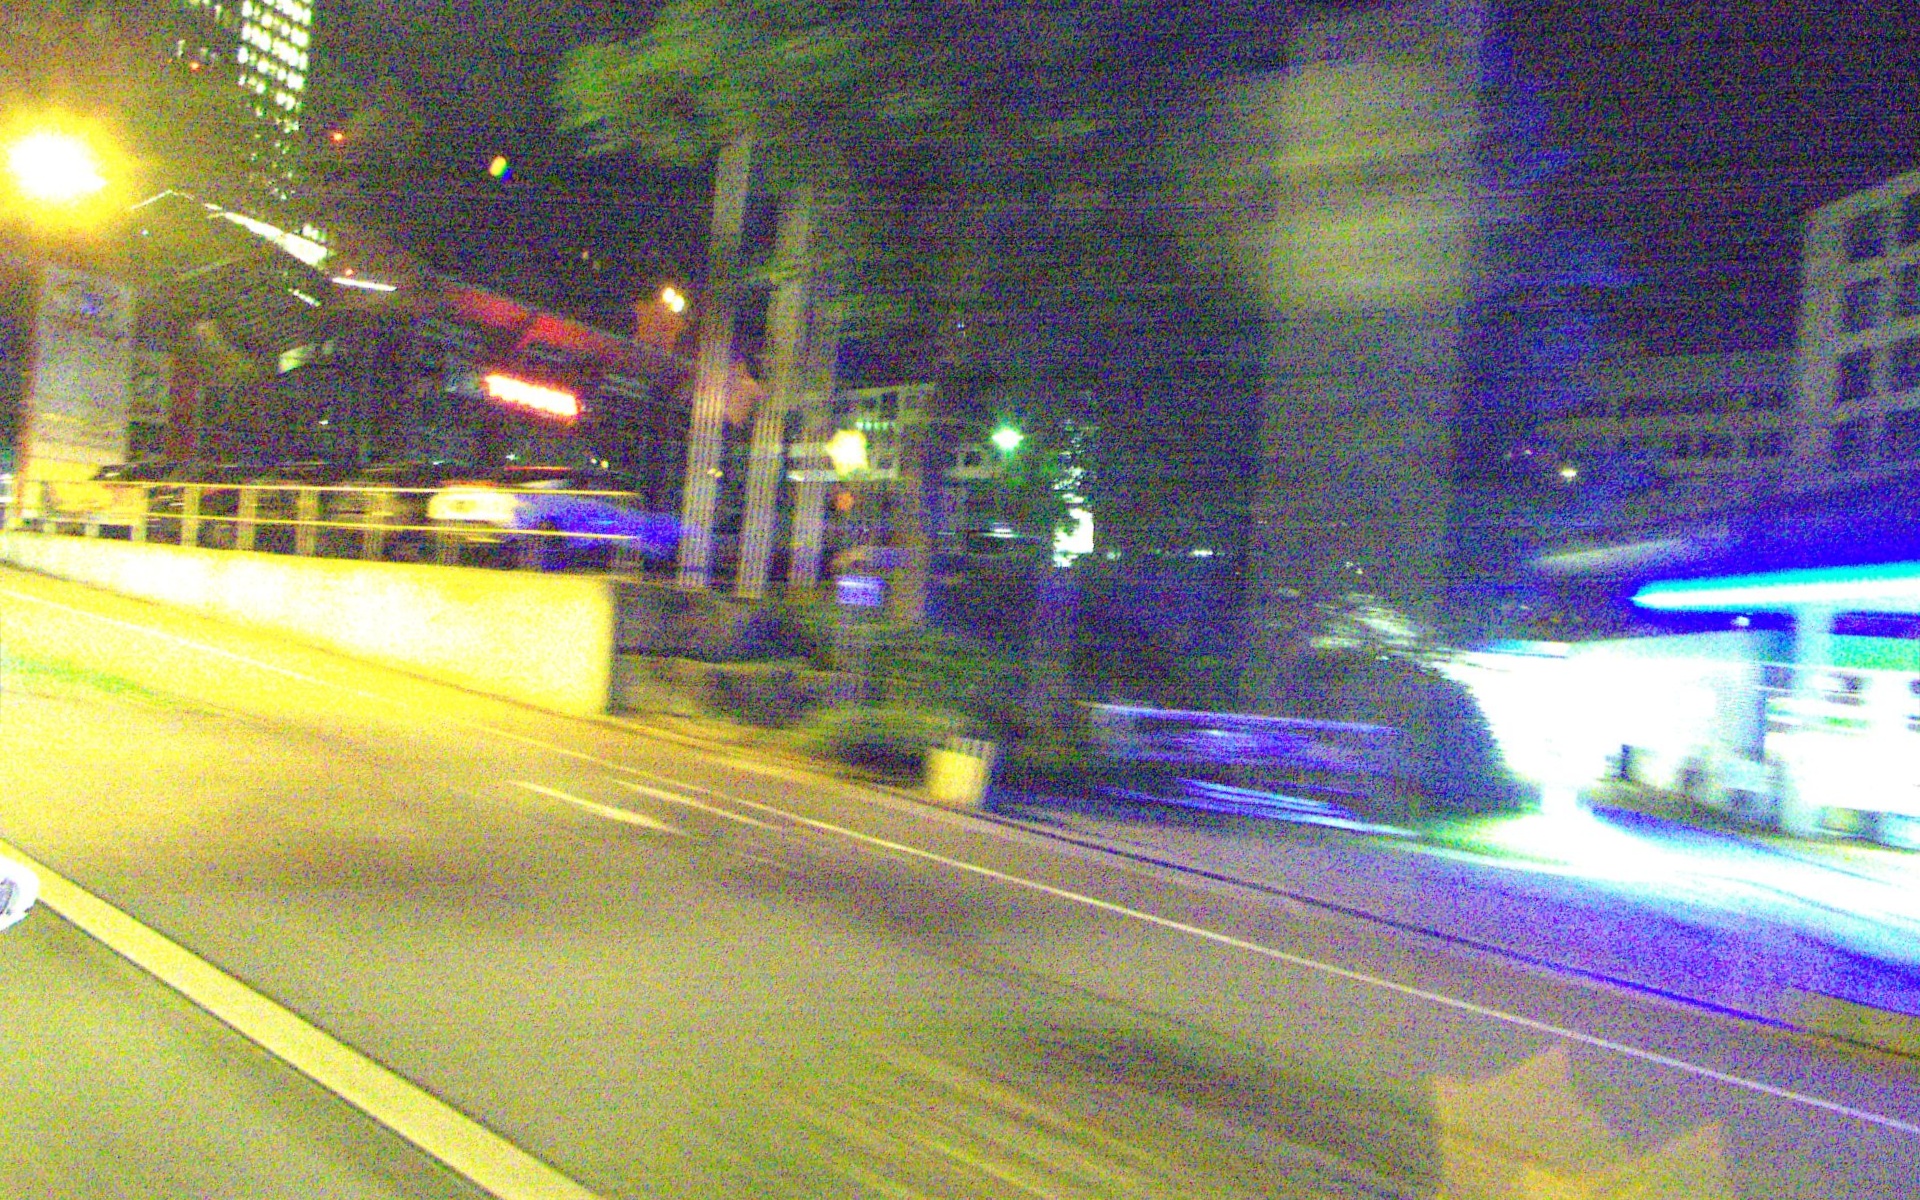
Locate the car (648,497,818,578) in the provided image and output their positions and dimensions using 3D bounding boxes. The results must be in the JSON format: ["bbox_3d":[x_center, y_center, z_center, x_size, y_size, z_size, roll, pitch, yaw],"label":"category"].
[{"bbox_3d":[-5.769,-1.558,26.088,1.722,1.748,4.360,5,2,30],"label":"car"}]

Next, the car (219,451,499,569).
[{"bbox_3d":[-10.171,-1.469,17.315,1.749,1.608,3.751,4,1,26],"label":"car"}]

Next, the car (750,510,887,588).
[{"bbox_3d":[-4.326,-1.546,31.570,1.964,1.934,4.586,5,0,25],"label":"car"}]

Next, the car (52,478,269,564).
[{"bbox_3d":[-17.044,-1.623,21.707,1.708,1.509,3.840,3,1,-3],"label":"car"}]

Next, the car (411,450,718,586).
[{"bbox_3d":[-5.842,-1.155,15.387,1.792,1.541,4.124,4,0,29],"label":"car"}]

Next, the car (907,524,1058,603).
[{"bbox_3d":[0.578,-0.746,21.895,1.610,1.490,3.640,5,2,31],"label":"car"}]

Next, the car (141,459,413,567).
[{"bbox_3d":[-12.336,-1.526,18.427,1.711,1.508,3.731,5,0,26],"label":"car"}]

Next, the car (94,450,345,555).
[{"bbox_3d":[-14.461,-1.854,19.855,1.695,1.590,3.569,5,1,23],"label":"car"}]

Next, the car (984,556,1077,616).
[{"bbox_3d":[2.647,-0.563,39.375,2.153,1.995,5.228,5,0,-11],"label":"car"}]

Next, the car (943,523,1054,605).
[{"bbox_3d":[1.178,-0.989,29.030,1.721,1.918,3.819,5,-1,25],"label":"car"}]

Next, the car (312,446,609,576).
[{"bbox_3d":[-7.900,-1.351,16.305,1.709,1.591,3.991,5,0,29],"label":"car"}]

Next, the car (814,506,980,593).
[{"bbox_3d":[-1.365,-1.121,23.425,1.807,1.755,3.985,5,3,32],"label":"car"}]
